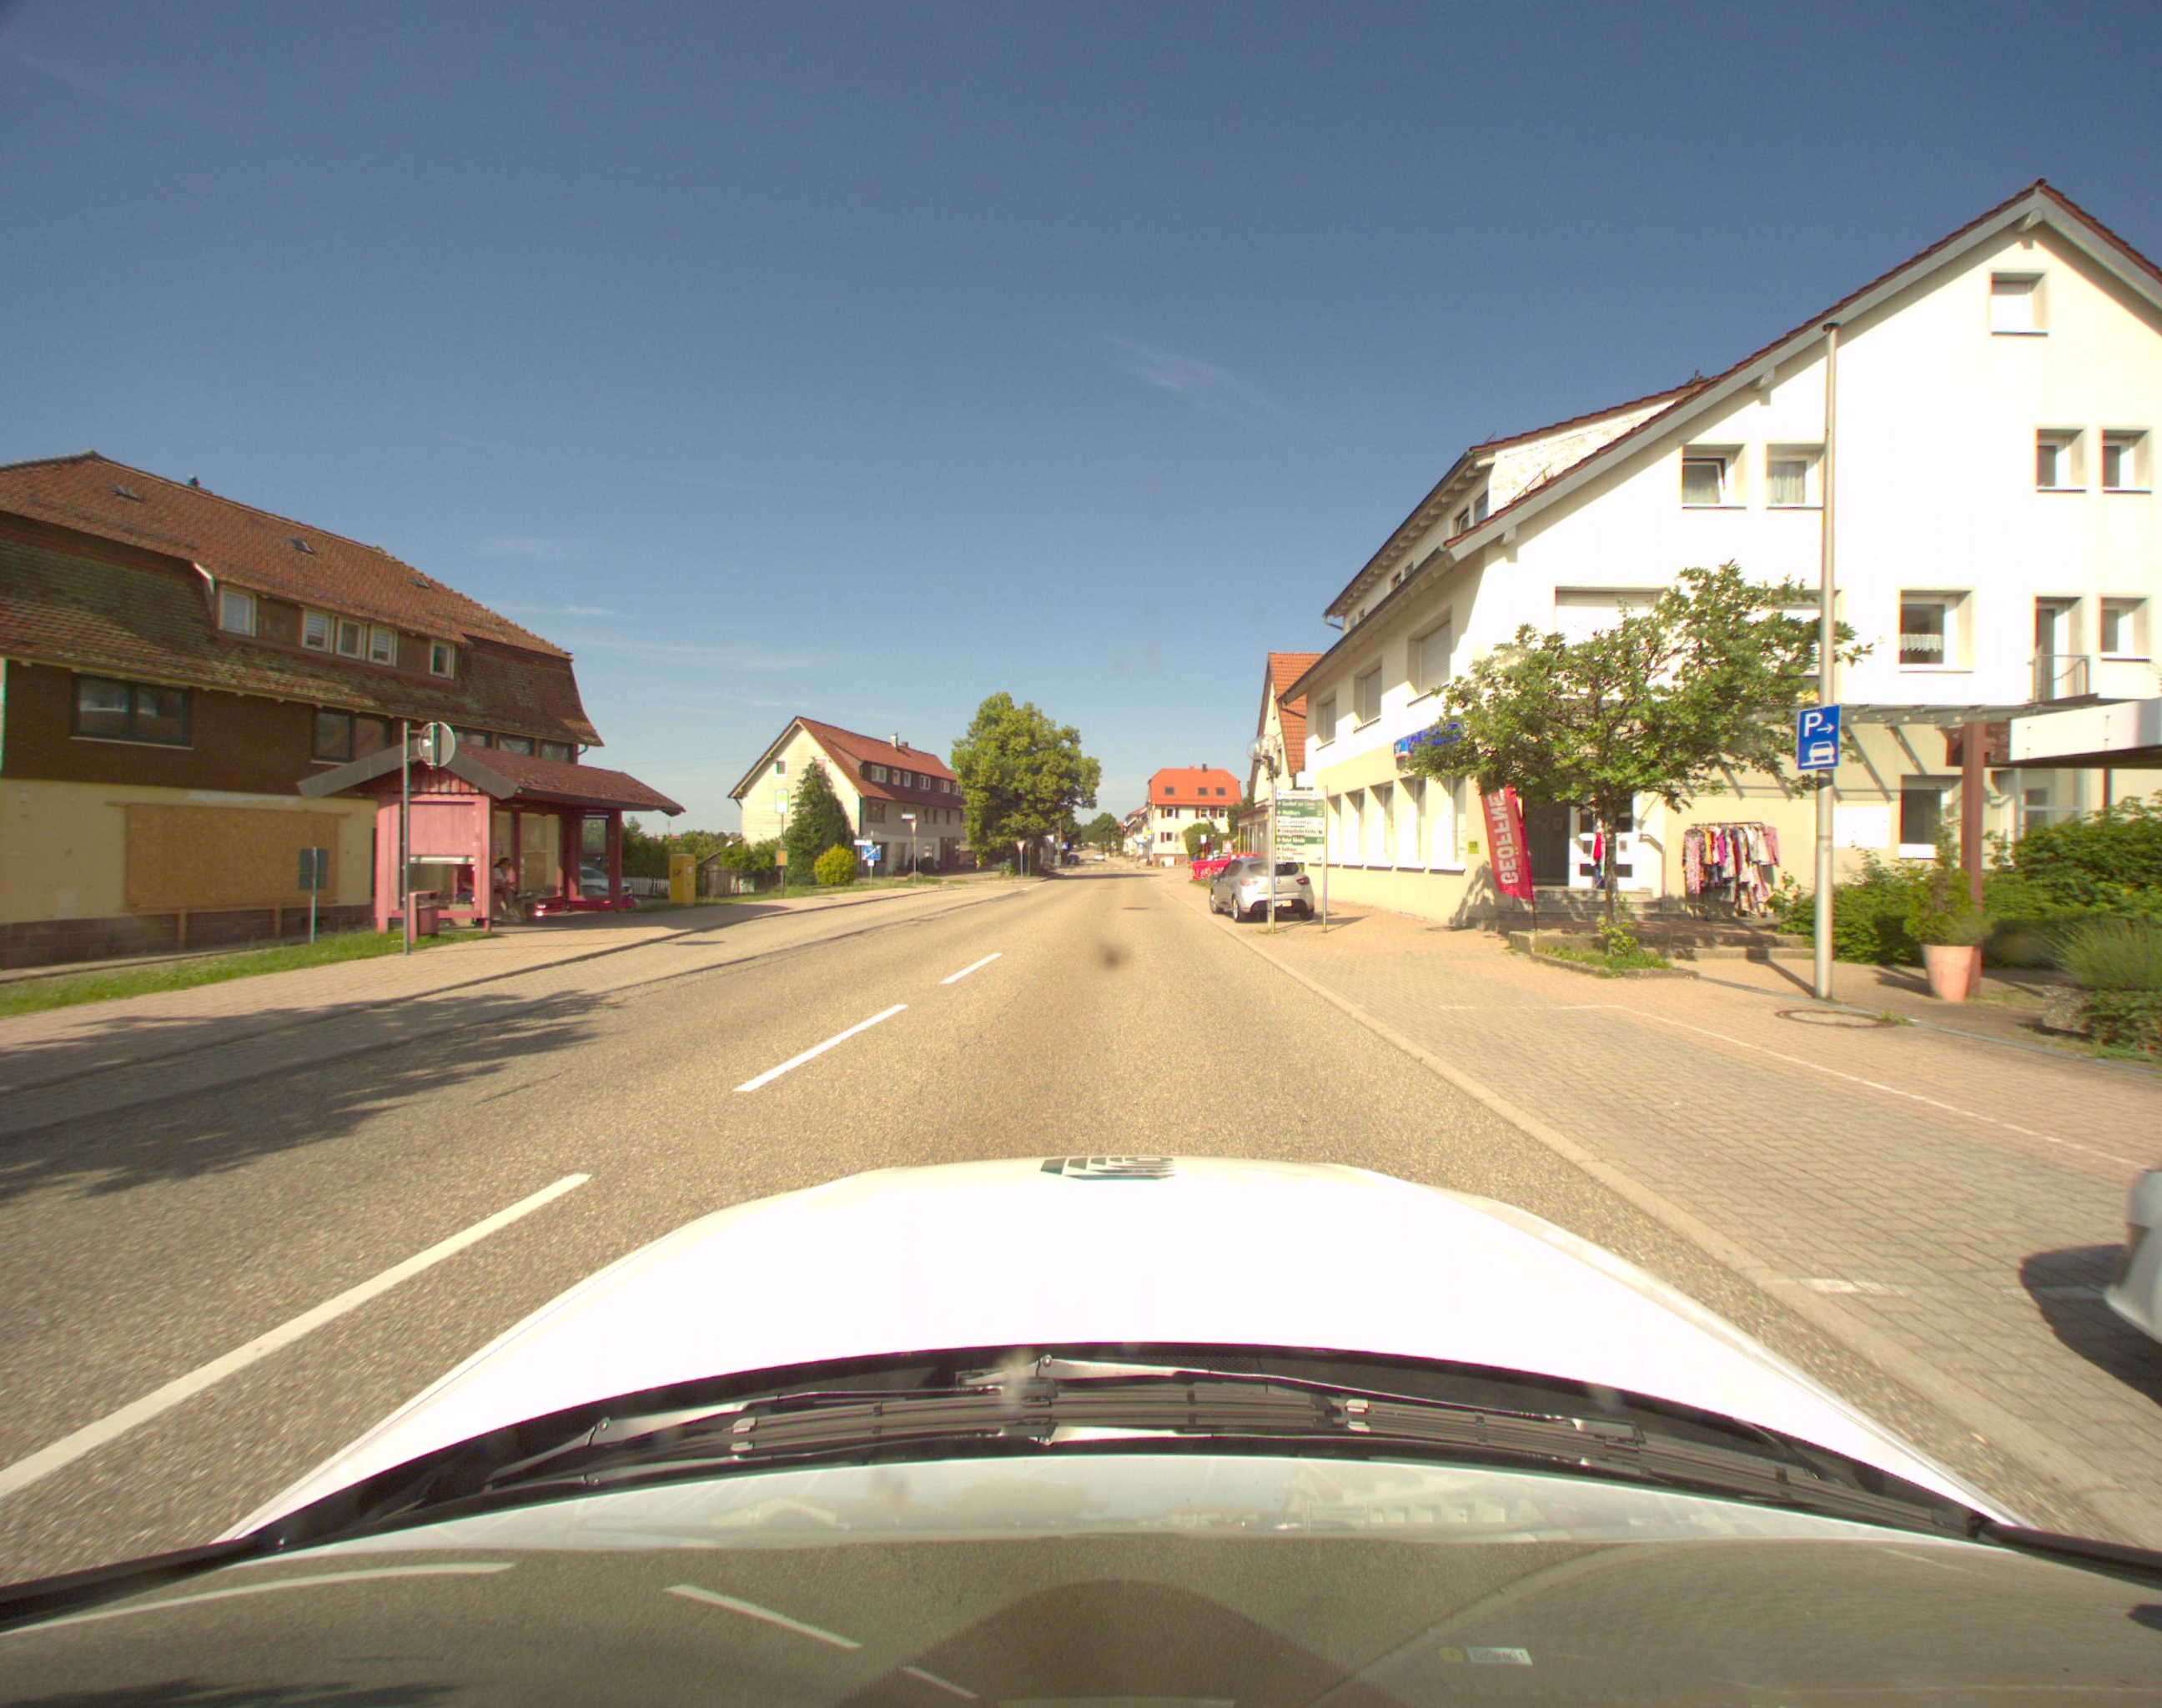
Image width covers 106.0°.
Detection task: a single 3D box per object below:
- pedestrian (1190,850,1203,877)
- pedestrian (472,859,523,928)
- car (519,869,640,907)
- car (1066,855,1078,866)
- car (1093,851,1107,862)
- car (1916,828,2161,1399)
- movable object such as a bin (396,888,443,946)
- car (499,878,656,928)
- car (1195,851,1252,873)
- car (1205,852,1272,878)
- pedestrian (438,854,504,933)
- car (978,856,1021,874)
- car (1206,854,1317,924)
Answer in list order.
[{"bbox_3d":[7.571,0.614,53.245,0.795,1.784,0.981,-1,0,7],"label":"pedestrian"},{"bbox_3d":[-11.022,0.736,15.393,0.627,1.253,0.423,-2,0,-1],"label":"pedestrian"},{"bbox_3d":[-21.435,1.428,34.857,4.273,1.511,1.806,1,-2,12],"label":"car"},{"bbox_3d":[-1.381,0.978,125.529,1.666,1.533,3.537,4,0,2],"label":"car"},{"bbox_3d":[3.692,0.464,160.342,2.489,2.013,4.300,-2,0,-3],"label":"car"},{"bbox_3d":[3.524,0.630,0.786,1.753,1.423,3.635,-2,0,2],"label":"car"},{"bbox_3d":[-10.003,0.946,12.320,0.304,0.837,0.485,-1,-1,0],"label":"movable object such as a bin"},{"bbox_3d":[-15.686,1.491,25.627,1.707,1.297,4.018,-2,0,17],"label":"car"},{"bbox_3d":[10.467,0.600,59.971,3.968,1.548,1.883,-1,0,4],"label":"car"},{"bbox_3d":[9.621,0.670,49.633,3.833,1.558,1.971,0,0,15],"label":"car"},{"bbox_3d":[-11.072,0.700,14.808,0.615,1.364,0.674,-2,1,1],"label":"pedestrian"},{"bbox_3d":[-7.973,1.075,79.813,3.732,1.455,1.824,-2,-6,14],"label":"car"},{"bbox_3d":[4.135,0.742,19.264,1.630,1.420,3.933,-2,0,-1],"label":"car"}]
